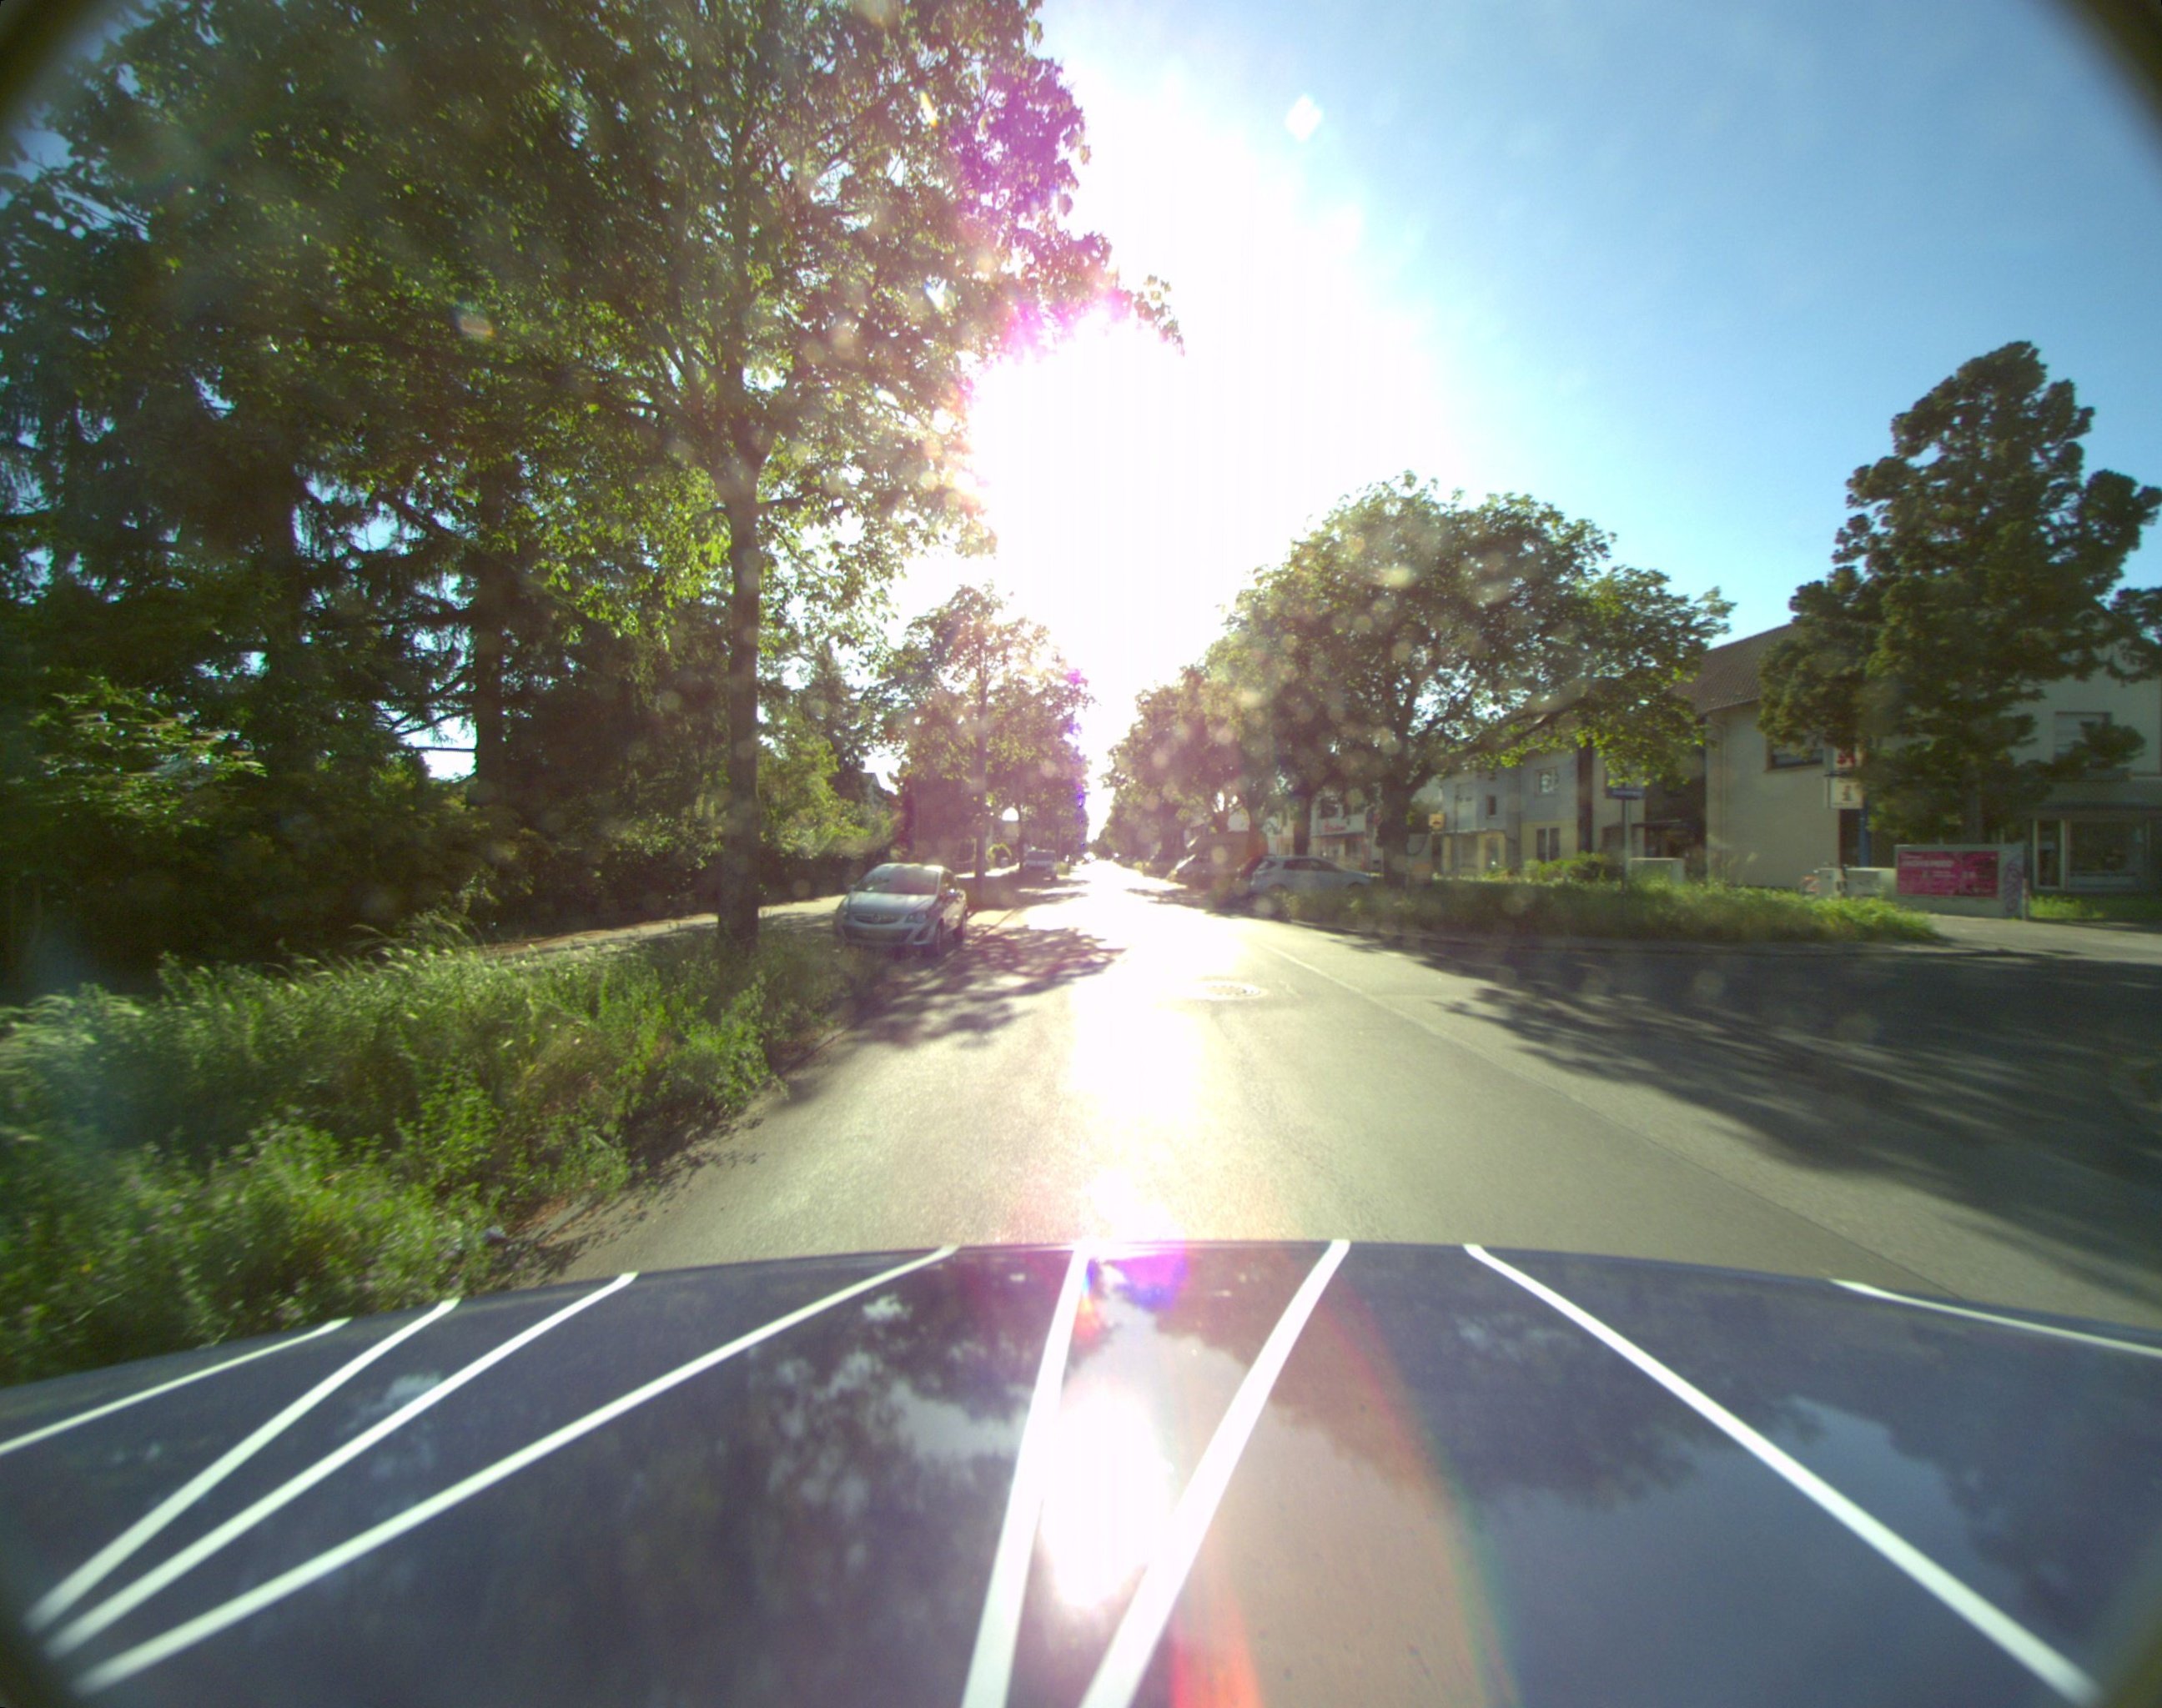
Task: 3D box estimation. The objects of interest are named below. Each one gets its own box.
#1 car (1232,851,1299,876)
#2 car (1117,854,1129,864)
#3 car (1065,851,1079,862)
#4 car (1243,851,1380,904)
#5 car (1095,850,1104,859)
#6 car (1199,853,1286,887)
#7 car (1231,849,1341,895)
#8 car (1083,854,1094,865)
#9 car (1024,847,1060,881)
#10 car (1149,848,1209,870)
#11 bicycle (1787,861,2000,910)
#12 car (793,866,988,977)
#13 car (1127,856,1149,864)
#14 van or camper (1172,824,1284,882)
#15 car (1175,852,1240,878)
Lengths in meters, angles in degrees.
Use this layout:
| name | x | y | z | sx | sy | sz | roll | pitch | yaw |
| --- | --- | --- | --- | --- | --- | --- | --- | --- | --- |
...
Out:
| name | x | y | z | sx | sy | sz | roll | pitch | yaw |
| --- | --- | --- | --- | --- | --- | --- | --- | --- | --- |
| car | 12.505 | 0.619 | 51.571 | 3.998 | 1.533 | 1.869 | -2 | 1 | -5 |
| car | 7.695 | 0.944 | 139.987 | 1.998 | 1.530 | 3.695 | -4 | 1 | 3 |
| car | -1.399 | 0.357 | 124.131 | 1.941 | 1.684 | 4.363 | -1 | 0 | 3 |
| car | 7.684 | 0.769 | 25.605 | 3.997 | 1.651 | 1.966 | -1 | 0 | 0 |
| car | 3.515 | 0.039 | 146.836 | 1.539 | 1.582 | 3.458 | -4 | 1 | 3 |
| car | 8.317 | 0.818 | 39.460 | 3.997 | 1.450 | 1.999 | -4 | 1 | -1 |
| car | 8.460 | 0.710 | 31.617 | 3.997 | 1.580 | 2.000 | -4 | 1 | 0 |
| car | 1.221 | 0.862 | 126.259 | 1.539 | 1.582 | 3.458 | -4 | 1 | 3 |
| car | -2.544 | 0.589 | 50.746 | 1.999 | 2.002 | 5.195 | -4 | 1 | -1 |
| car | 8.931 | 0.428 | 69.740 | 5.075 | 1.718 | 1.999 | -4 | 1 | -3 |
| bicycle | 21.594 | 0.785 | 20.441 | 0.706 | 1.169 | 4.051 | -1 | 0 | -16 |
| car | -3.146 | 1.041 | 13.490 | 1.997 | 1.502 | 4.001 | 0 | 1 | 8 |
| car | 10.146 | 1.066 | 135.327 | 3.695 | 1.315 | 1.624 | -2 | 1 | -5 |
| van or camper | 8.104 | -0.044 | 42.320 | 5.789 | 2.789 | 2.000 | -4 | 1 | 3 |
| car | 8.151 | 0.701 | 49.154 | 3.996 | 1.441 | 1.639 | -3 | 1 | 4 |
